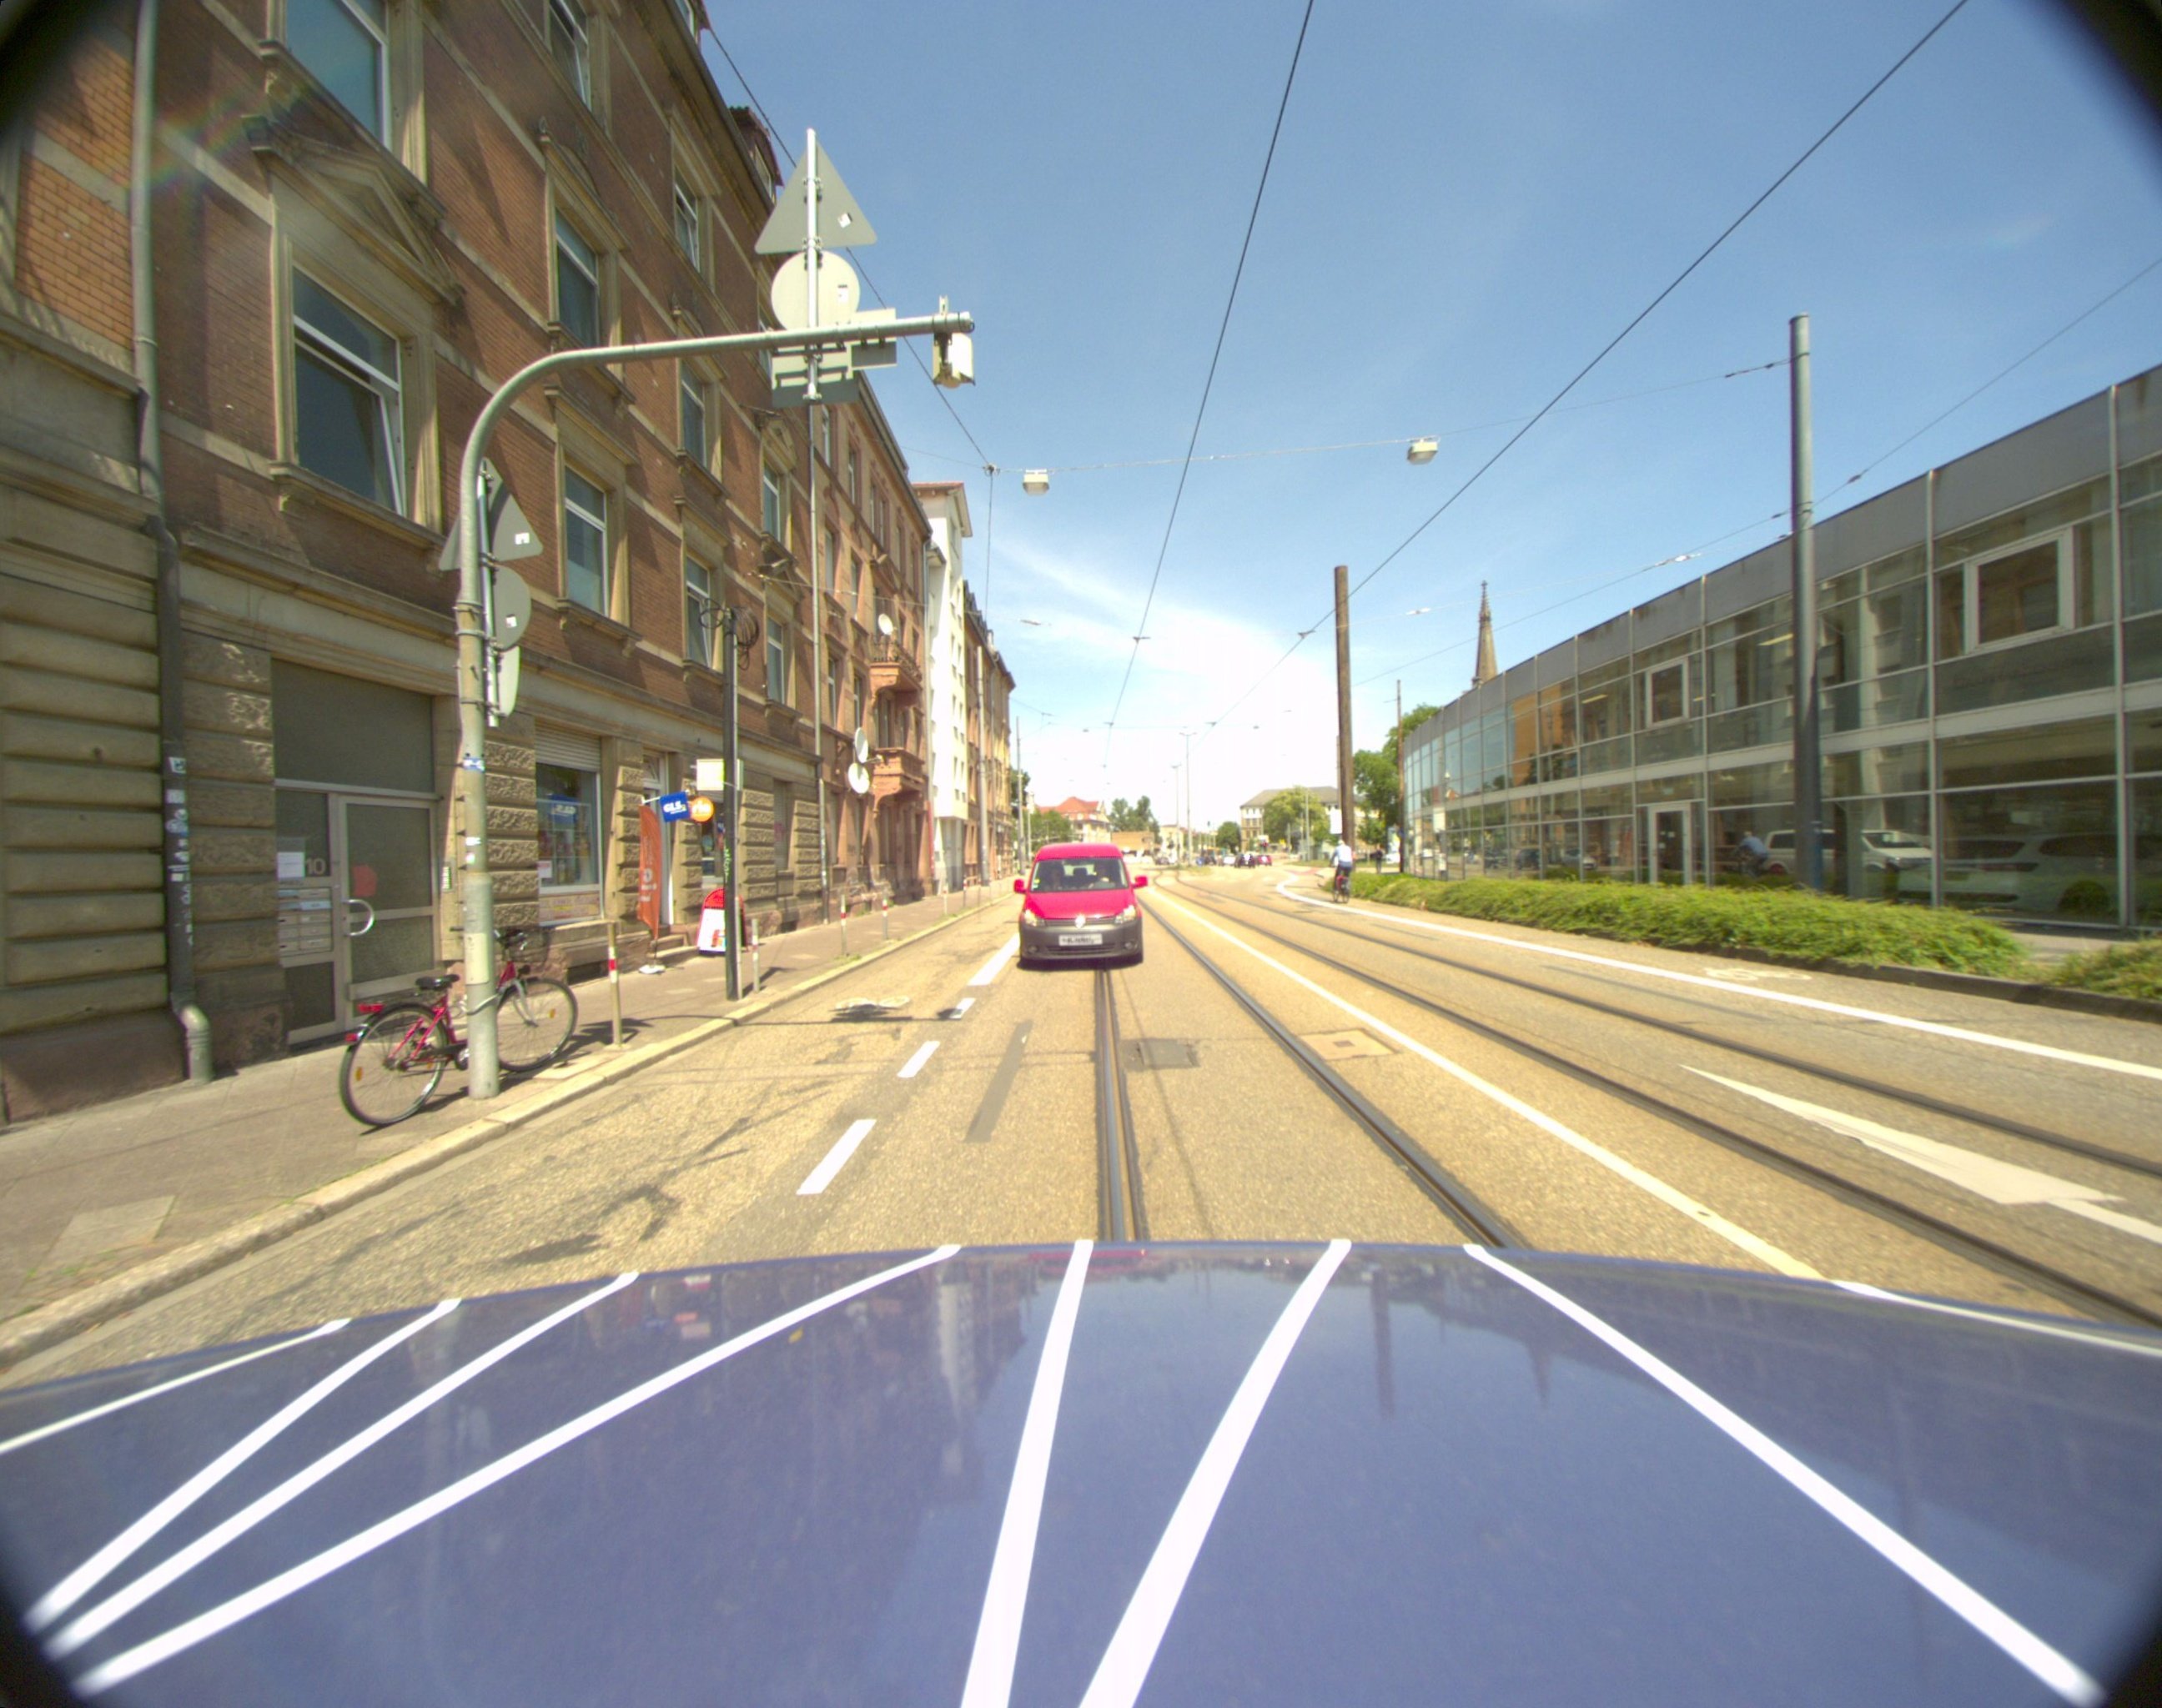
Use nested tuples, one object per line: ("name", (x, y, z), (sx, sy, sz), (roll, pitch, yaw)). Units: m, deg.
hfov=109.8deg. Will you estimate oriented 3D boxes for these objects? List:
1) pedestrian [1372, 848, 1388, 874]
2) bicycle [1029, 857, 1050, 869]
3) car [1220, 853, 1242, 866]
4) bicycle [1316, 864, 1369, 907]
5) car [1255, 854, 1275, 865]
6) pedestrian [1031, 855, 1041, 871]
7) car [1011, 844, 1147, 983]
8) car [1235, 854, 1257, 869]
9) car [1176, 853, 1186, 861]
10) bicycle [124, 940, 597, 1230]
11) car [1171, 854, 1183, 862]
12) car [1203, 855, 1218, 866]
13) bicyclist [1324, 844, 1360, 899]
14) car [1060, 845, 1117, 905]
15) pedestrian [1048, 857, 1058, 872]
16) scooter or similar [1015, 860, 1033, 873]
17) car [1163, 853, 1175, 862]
("pedestrian", (19.141, 0.448, 48.669), (0.729, 1.632, 0.820), (-1, 0, 5))
("bicycle", (-4.741, 1.035, 86.907), (2.225, 1.243, 1.096), (-1, 0, -42))
("car", (19.260, 0.678, 97.933), (1.998, 1.521, 5.131), (0, 0, 2))
("bicycle", (7.549, 0.885, 22.064), (0.699, 1.138, 2.495), (-1, 0, 1))
("car", (24.091, 0.717, 99.844), (1.762, 1.359, 4.289), (-2, 0, 3))
("pedestrian", (-5.126, 0.993, 86.625), (0.826, 1.765, 0.812), (-2, 2, -42))
("car", (0.043, 0.793, 12.086), (1.755, 1.802, 4.098), (-1, 0, 2))
("car", (18.143, 0.799, 83.575), (1.826, 1.617, 4.526), (0, 0, 5))
("car", (20.522, 0.643, 155.417), (1.552, 1.527, 3.679), (-2, 0, 1))
("bicycle", (-4.190, 1.229, 4.807), (0.448, 1.090, 2.424), (-1, 0, 7))
("car", (17.373, 0.687, 137.080), (1.711, 1.291, 4.203), (0, 0, 1))
("car", (18.656, 0.904, 109.643), (1.675, 1.453, 3.904), (0, 0, 1))
("bicyclist", (7.535, 0.489, 21.945), (0.699, 1.539, 0.980), (-1, 0, 0))
("car", (0.268, 0.708, 27.438), (1.874, 1.954, 3.823), (-1, 0, 0))
("pedestrian", (-3.354, 1.225, 91.733), (0.808, 1.769, 0.876), (-1, 1, 34))
("scooter or similar", (-5.355, 1.200, 71.352), (1.527, 1.148, 0.714), (-1, 0, -27))
("car", (14.775, 0.639, 127.649), (1.847, 1.471, 4.331), (0, -1, 3))
